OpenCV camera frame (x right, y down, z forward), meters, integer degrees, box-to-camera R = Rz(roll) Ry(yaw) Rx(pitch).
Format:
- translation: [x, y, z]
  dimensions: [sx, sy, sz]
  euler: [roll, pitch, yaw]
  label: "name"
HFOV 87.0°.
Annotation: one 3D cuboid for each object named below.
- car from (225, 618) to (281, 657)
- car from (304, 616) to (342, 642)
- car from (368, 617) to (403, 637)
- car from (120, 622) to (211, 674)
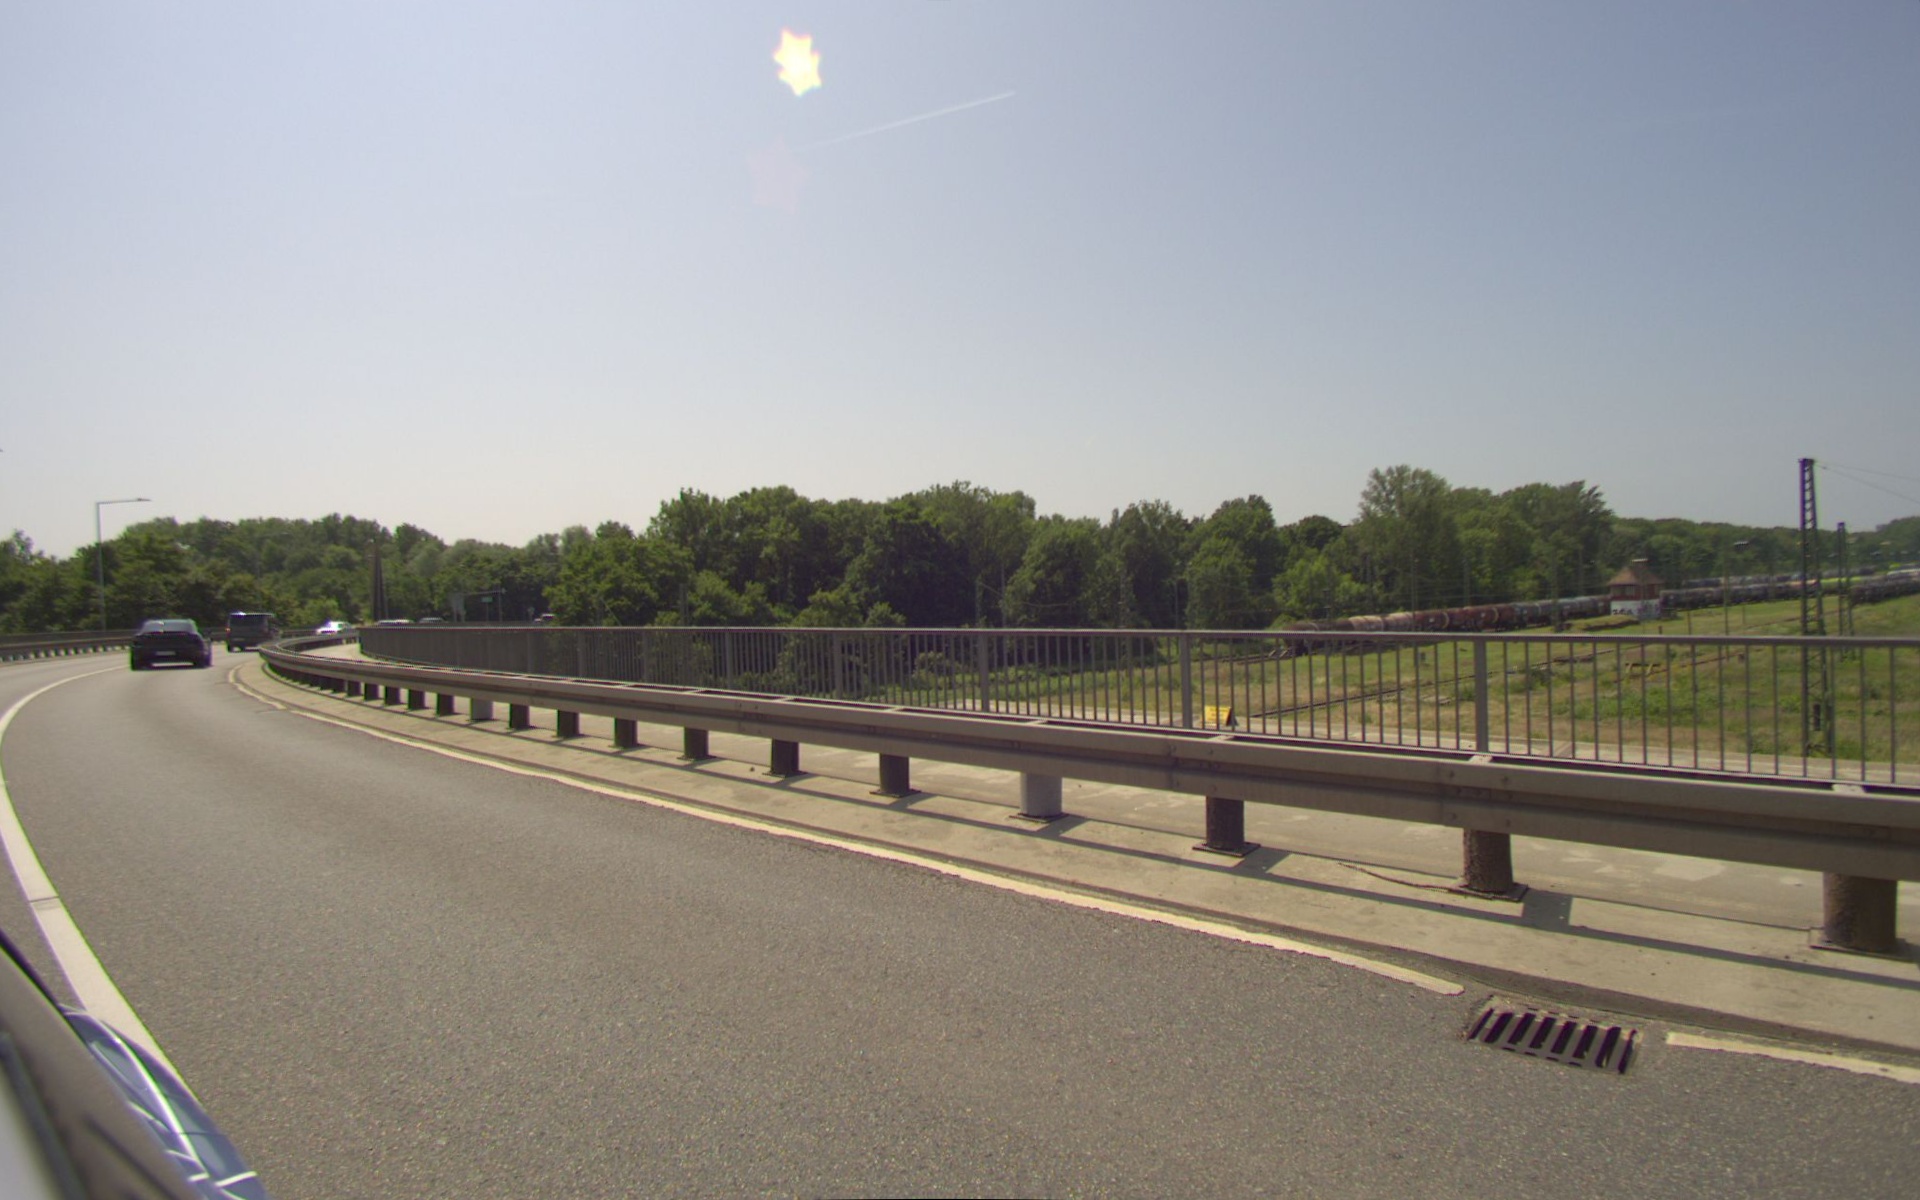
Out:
- translation: [-38.123, 1.967, 54.684]
  dimensions: [1.979, 1.973, 5.287]
  euler: [0, -1, -29]
  label: "car"
- translation: [-51.353, 2.354, 81.705]
  dimensions: [1.965, 2.029, 4.013]
  euler: [-1, -1, -23]
  label: "car"
- translation: [-45.039, 2.089, 79.347]
  dimensions: [1.641, 1.475, 3.497]
  euler: [-1, -1, -17]
  label: "car"
- translation: [-27.155, 1.608, 34.731]
  dimensions: [1.866, 1.608, 4.500]
  euler: [-1, -1, -31]
  label: "car"
